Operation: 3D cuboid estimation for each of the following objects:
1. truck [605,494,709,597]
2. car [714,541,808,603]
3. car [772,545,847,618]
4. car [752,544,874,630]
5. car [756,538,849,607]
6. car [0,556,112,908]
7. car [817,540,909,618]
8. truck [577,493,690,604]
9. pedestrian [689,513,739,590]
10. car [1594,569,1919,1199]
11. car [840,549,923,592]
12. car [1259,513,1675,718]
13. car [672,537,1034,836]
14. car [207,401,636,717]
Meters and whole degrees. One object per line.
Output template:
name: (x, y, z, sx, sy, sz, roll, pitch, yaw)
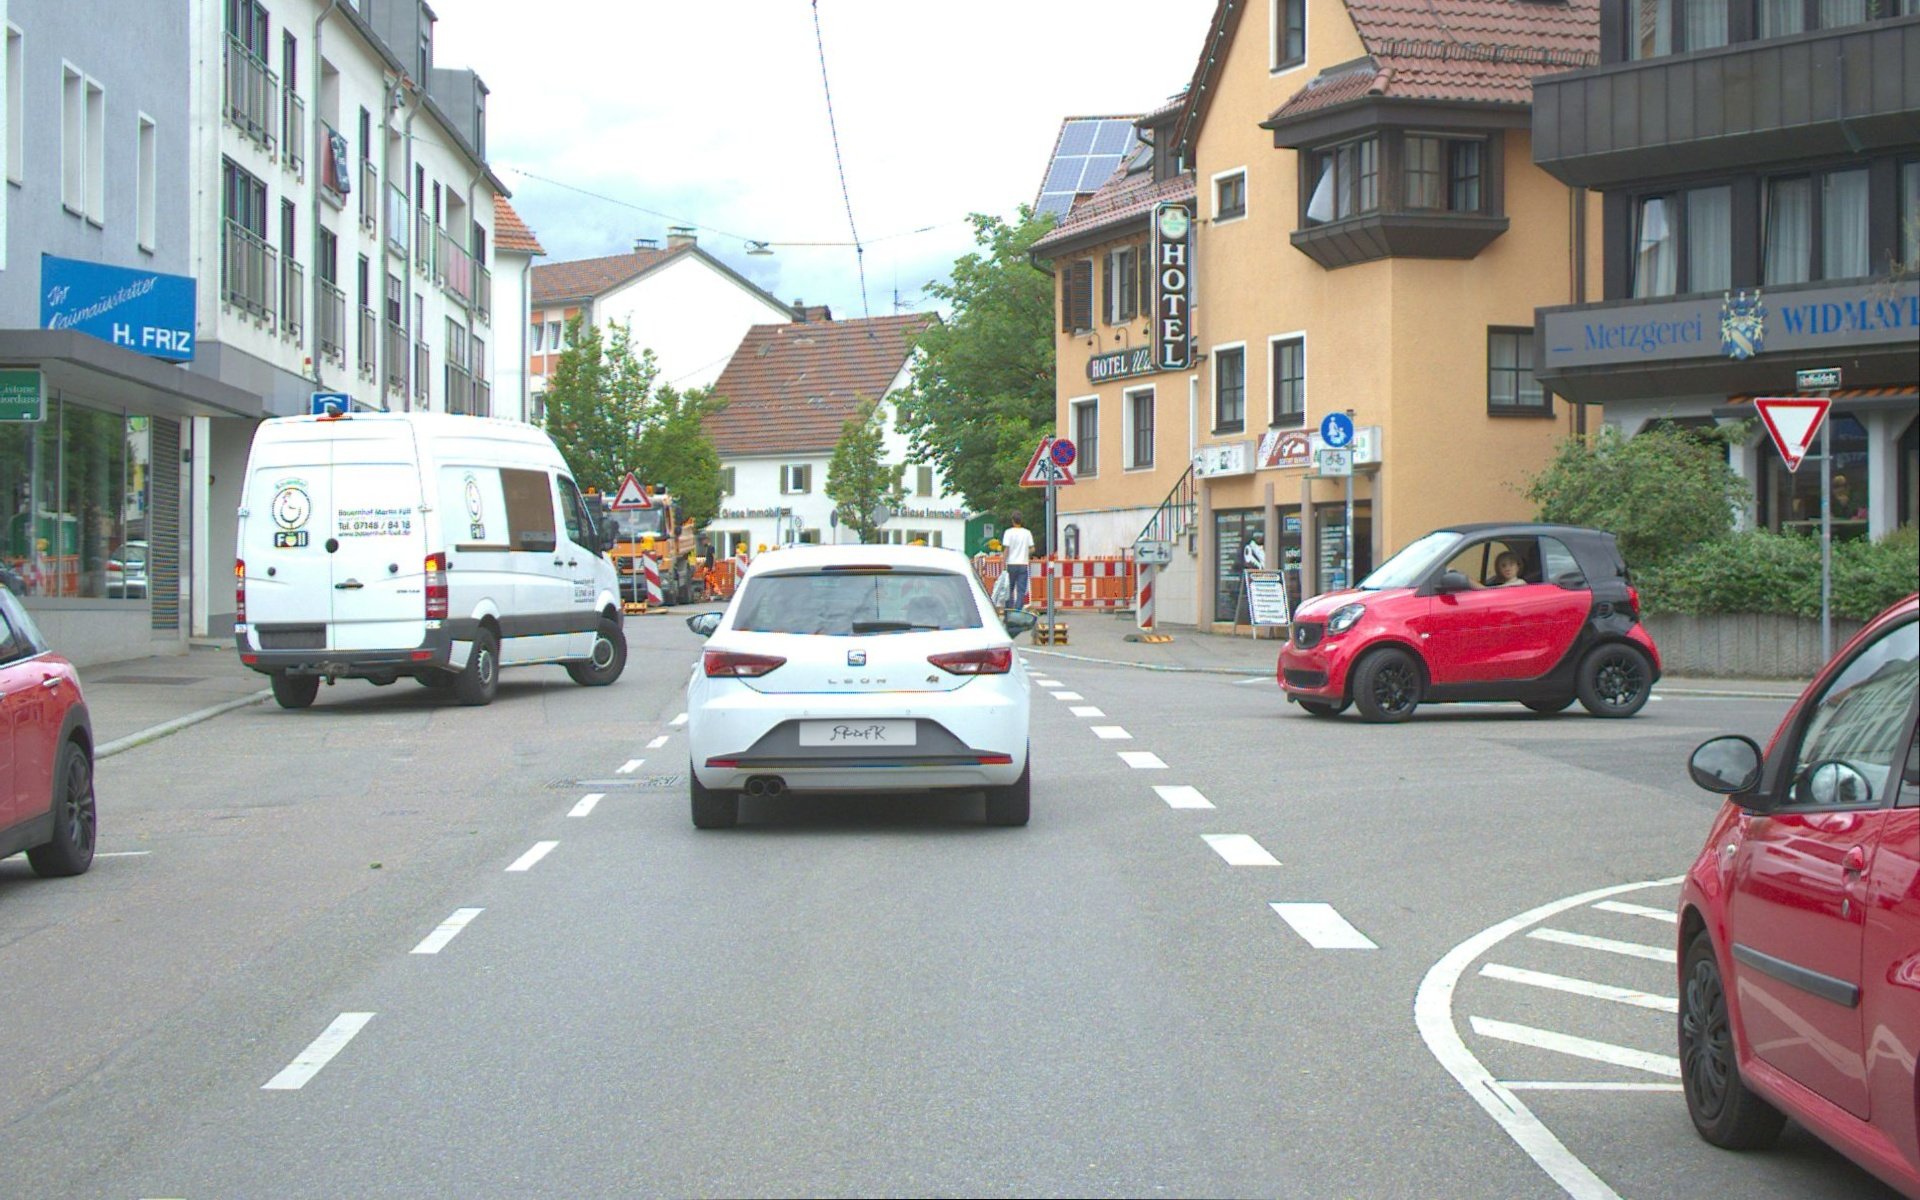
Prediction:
truck: (-7.538, -1.387, 86.089, 2.152, 2.451, 5.395, 1, 1, -1)
car: (-5.560, -0.810, 96.482, 1.795, 1.696, 3.999, 0, 1, 9)
car: (-3.857, -0.487, 88.733, 1.794, 1.824, 4.000, 0, 1, 0)
car: (-2.597, -0.241, 59.856, 1.758, 1.447, 4.001, 0, 1, -8)
car: (-3.373, -0.611, 74.255, 1.758, 1.447, 4.000, 0, 1, 1)
car: (-4.971, 0.600, 14.521, 1.799, 1.474, 4.051, -3, 1, -1)
car: (-1.894, -0.446, 68.086, 1.761, 1.492, 3.789, 0, 1, -1)
truck: (-7.574, -1.218, 80.178, 2.152, 2.451, 5.395, 1, 1, -1)
pedestrian: (-6.482, -1.276, 90.659, 1.228, 2.007, 1.176, 0, 1, 0)
car: (2.645, 0.662, 7.720, 1.758, 1.447, 4.000, 0, 1, 1)
car: (-2.609, -1.001, 115.685, 1.759, 1.447, 3.997, 0, 1, 15)
car: (3.987, 0.105, 27.257, 2.807, 1.507, 1.709, 1, 2, -12)
car: (-0.549, 0.394, 18.734, 1.758, 1.447, 4.000, 0, 1, -1)
car: (-4.896, -0.416, 32.253, 2.153, 2.677, 5.542, 1, 1, 11)
